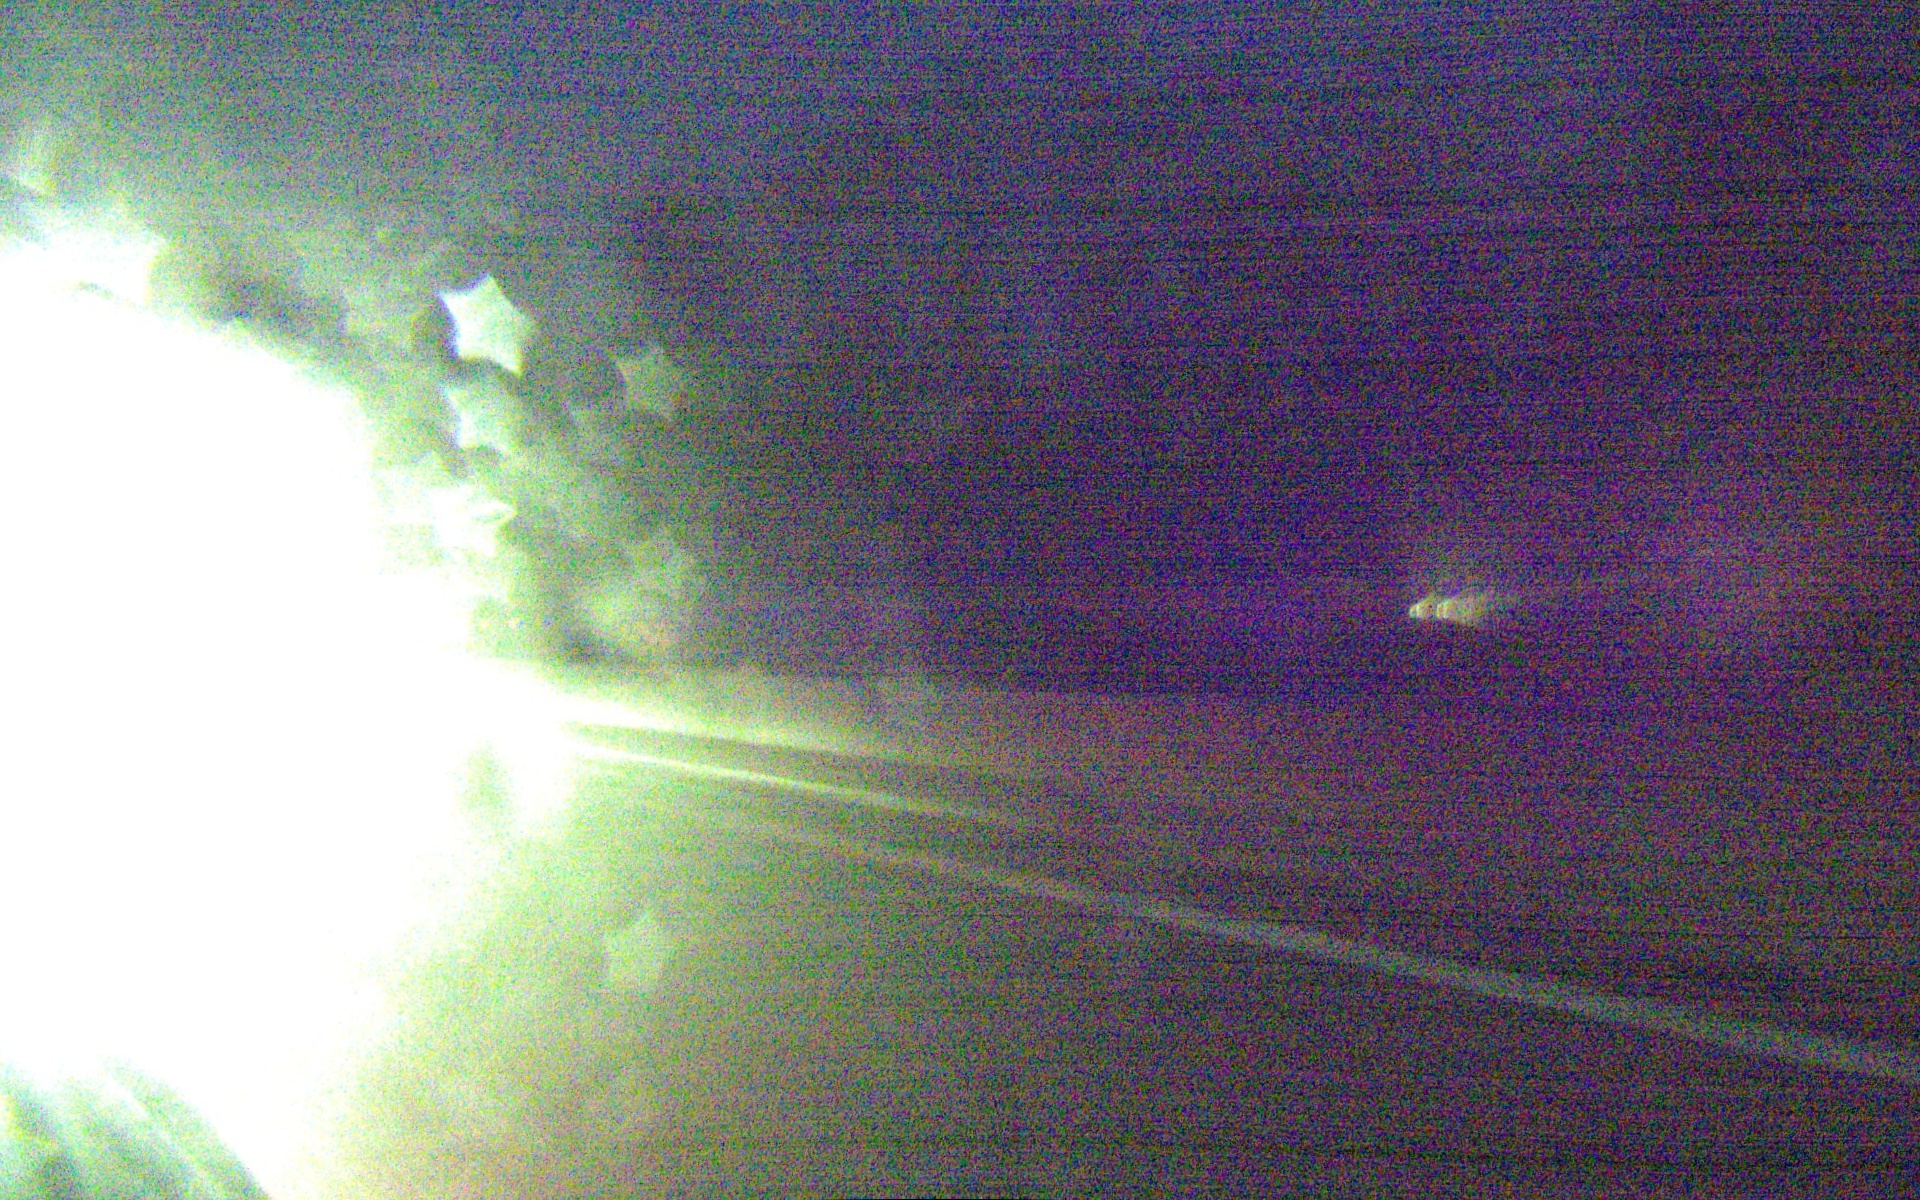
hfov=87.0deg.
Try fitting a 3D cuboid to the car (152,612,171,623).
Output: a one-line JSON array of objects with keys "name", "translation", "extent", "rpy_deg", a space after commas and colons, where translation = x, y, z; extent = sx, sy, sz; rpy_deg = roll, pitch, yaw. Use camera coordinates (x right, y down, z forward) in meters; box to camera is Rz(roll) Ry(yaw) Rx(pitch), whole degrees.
[{"name": "car", "translation": [-121.910, 2.652, 154.405], "extent": [1.970, 1.489, 4.005], "rpy_deg": [-6, 2, -41]}]

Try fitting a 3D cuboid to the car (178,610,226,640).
[{"name": "car", "translation": [-53.571, 1.800, 71.540], "extent": [4.001, 1.866, 1.972], "rpy_deg": [-3, 2, 44]}]

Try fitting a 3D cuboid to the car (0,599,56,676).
[{"name": "car", "translation": [-27.411, 1.092, 28.692], "extent": [1.967, 2.028, 4.011], "rpy_deg": [-4, 1, -33]}]
